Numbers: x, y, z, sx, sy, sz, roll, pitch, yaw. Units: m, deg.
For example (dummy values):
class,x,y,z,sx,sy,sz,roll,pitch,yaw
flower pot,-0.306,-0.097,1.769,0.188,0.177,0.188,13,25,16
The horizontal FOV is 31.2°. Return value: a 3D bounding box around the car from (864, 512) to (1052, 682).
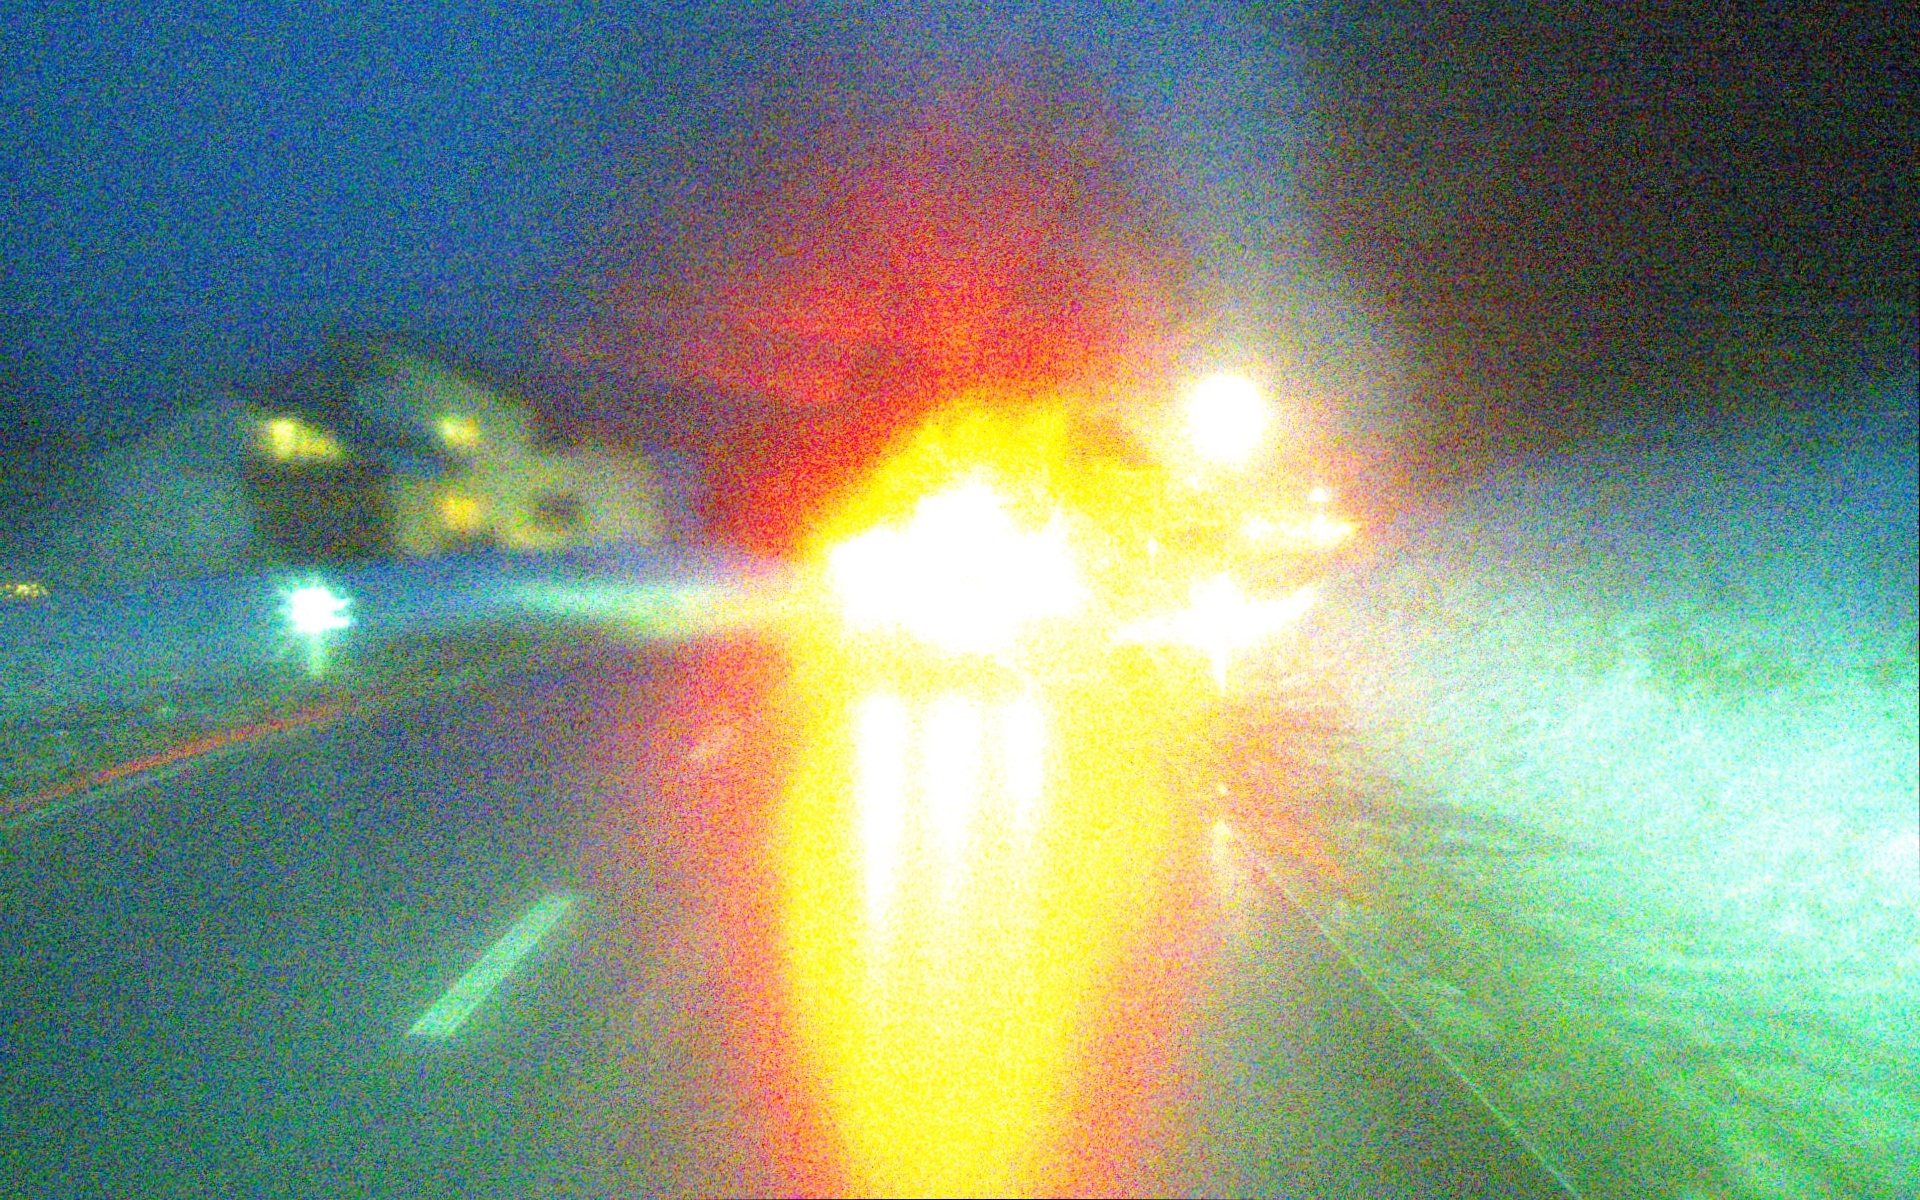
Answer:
class,x,y,z,sx,sy,sz,roll,pitch,yaw
car,0.003,-0.066,34.932,1.801,1.623,3.615,-1,1,1
